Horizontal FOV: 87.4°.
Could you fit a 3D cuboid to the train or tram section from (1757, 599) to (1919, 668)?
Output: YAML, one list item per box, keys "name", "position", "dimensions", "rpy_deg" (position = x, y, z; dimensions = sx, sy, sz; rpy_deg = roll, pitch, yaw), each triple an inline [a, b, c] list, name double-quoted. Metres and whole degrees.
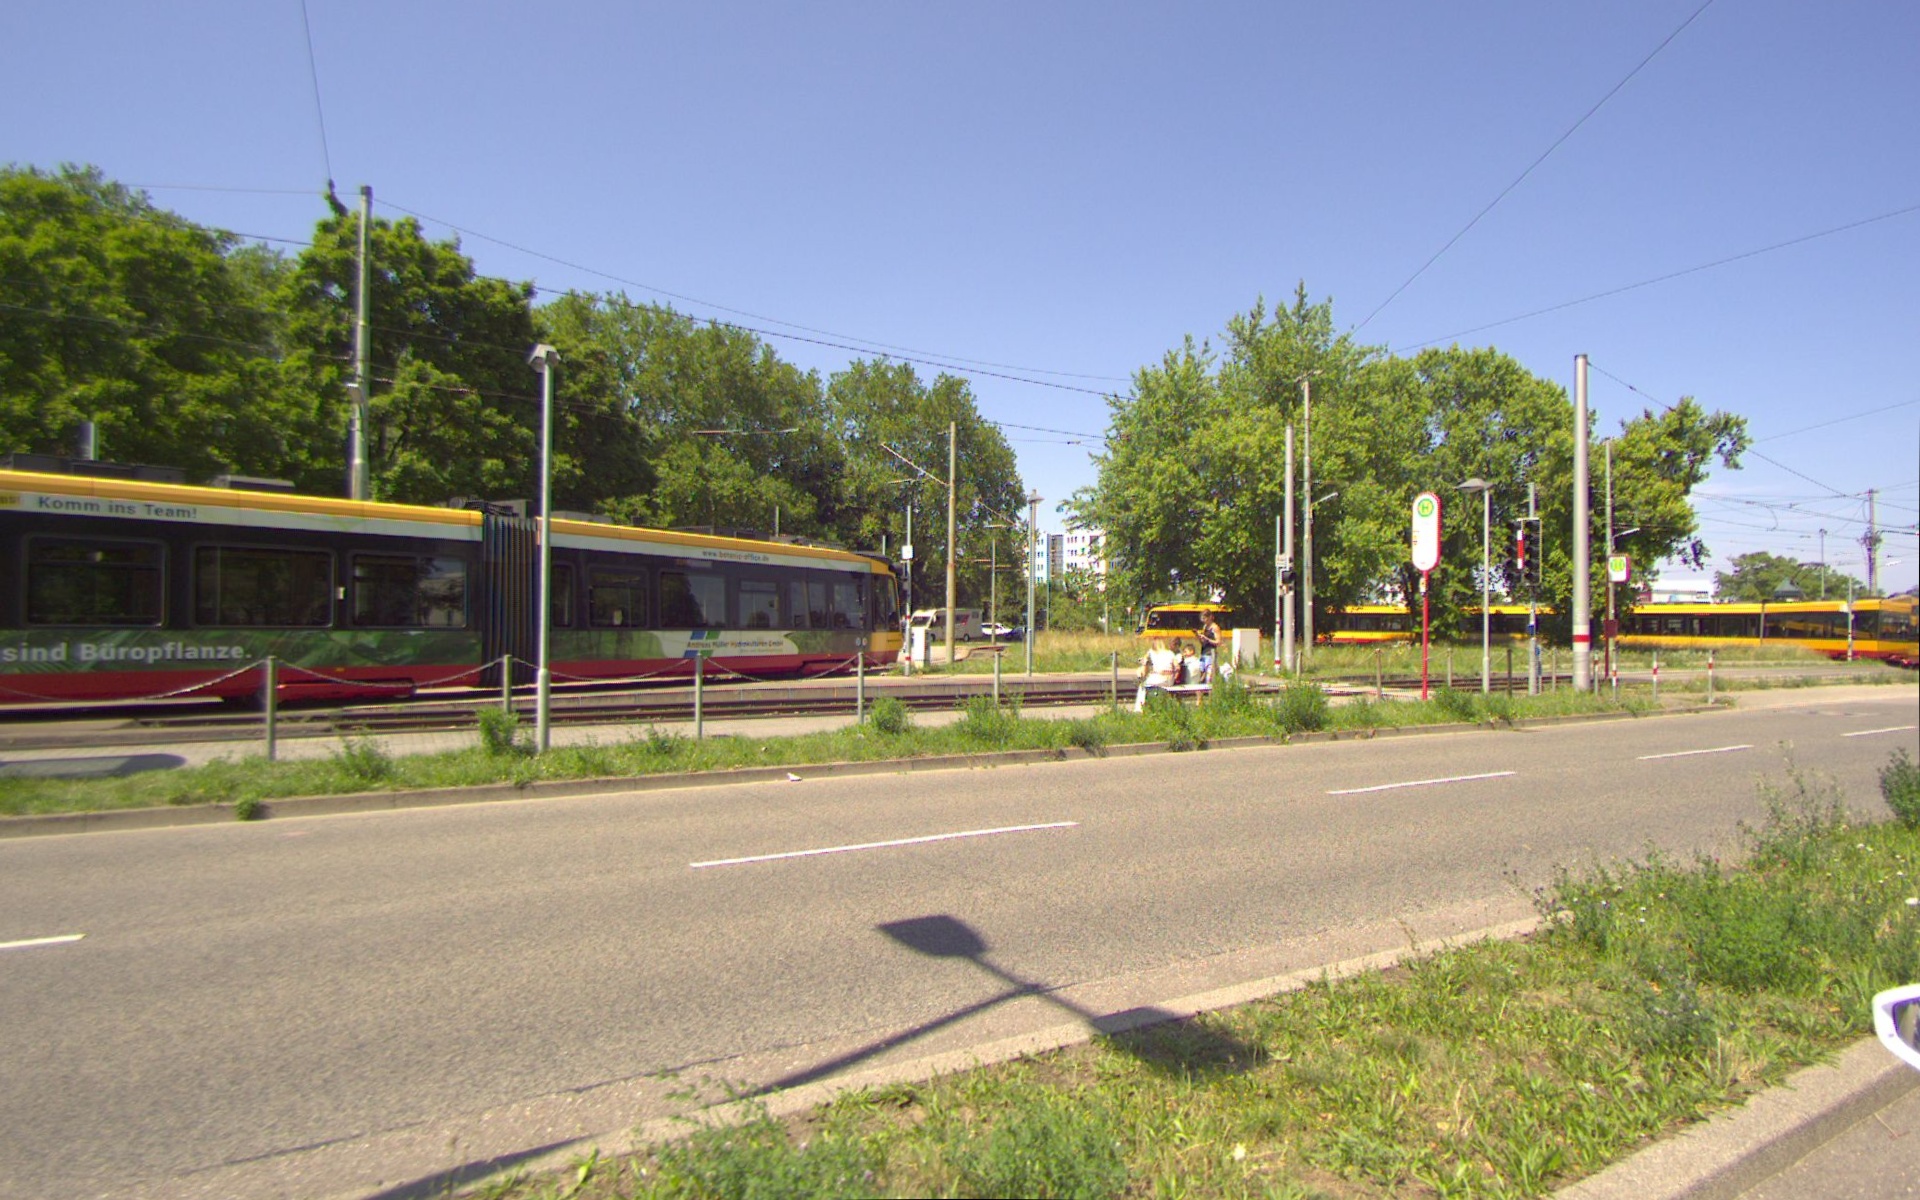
- name: "train or tram section"
  position: [49.963, 1.741, 57.112]
  dimensions: [2.984, 3.512, 10.229]
  rpy_deg: [1, 0, 12]

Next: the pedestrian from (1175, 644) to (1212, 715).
- name: "pedestrian"
  position: [3.652, 1.235, 15.714]
  dimensions: [0.373, 1.072, 0.380]
  rpy_deg: [1, 0, -32]

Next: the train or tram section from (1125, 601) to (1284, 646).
- name: "train or tram section"
  position: [20.911, 2.012, 86.190]
  dimensions: [13.021, 3.512, 3.042]
  rpy_deg: [1, 0, -8]

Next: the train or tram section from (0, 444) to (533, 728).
- name: "train or tram section"
  position: [-12.986, -0.191, 14.567]
  dimensions: [3.010, 3.673, 12.382]
  rpy_deg: [1, 0, 42]

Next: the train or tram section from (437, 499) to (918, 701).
- name: "train or tram section"
  position: [-5.766, 0.046, 24.288]
  dimensions: [3.000, 3.673, 12.423]
  rpy_deg: [1, 0, 32]

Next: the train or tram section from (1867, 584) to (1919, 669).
- name: "train or tram section"
  position: [44.808, 1.213, 46.179]
  dimensions: [2.996, 3.512, 13.247]
  rpy_deg: [1, 0, 35]

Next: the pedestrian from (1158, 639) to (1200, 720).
- name: "pedestrian"
  position: [3.380, 1.208, 15.505]
  dimensions: [0.395, 1.205, 0.492]
  rpy_deg: [1, 0, -28]

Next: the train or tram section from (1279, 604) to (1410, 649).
- name: "train or tram section"
  position: [32.562, 2.220, 85.459]
  dimensions: [10.016, 3.512, 3.048]
  rpy_deg: [1, 0, 13]

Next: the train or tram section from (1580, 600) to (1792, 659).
- name: "train or tram section"
  position: [49.182, 1.851, 68.870]
  dimensions: [2.996, 3.512, 12.709]
  rpy_deg: [1, 0, -15]

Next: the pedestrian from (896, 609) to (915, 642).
- name: "pedestrian"
  position: [-2.645, 1.221, 48.893]
  dimensions: [0.677, 1.595, 0.791]
  rpy_deg: [1, 0, 13]

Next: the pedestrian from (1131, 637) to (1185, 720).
- name: "pedestrian"
  position: [2.999, 1.171, 15.208]
  dimensions: [0.530, 1.205, 0.577]
  rpy_deg: [1, 0, -31]

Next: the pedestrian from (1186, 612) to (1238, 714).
- name: "pedestrian"
  position: [4.037, 0.991, 16.108]
  dimensions: [0.576, 1.586, 0.532]
  rpy_deg: [1, 0, -32]

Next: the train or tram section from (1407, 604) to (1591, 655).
- name: "train or tram section"
  position: [42.435, 2.259, 79.543]
  dimensions: [12.540, 3.512, 3.036]
  rpy_deg: [1, 0, 36]
